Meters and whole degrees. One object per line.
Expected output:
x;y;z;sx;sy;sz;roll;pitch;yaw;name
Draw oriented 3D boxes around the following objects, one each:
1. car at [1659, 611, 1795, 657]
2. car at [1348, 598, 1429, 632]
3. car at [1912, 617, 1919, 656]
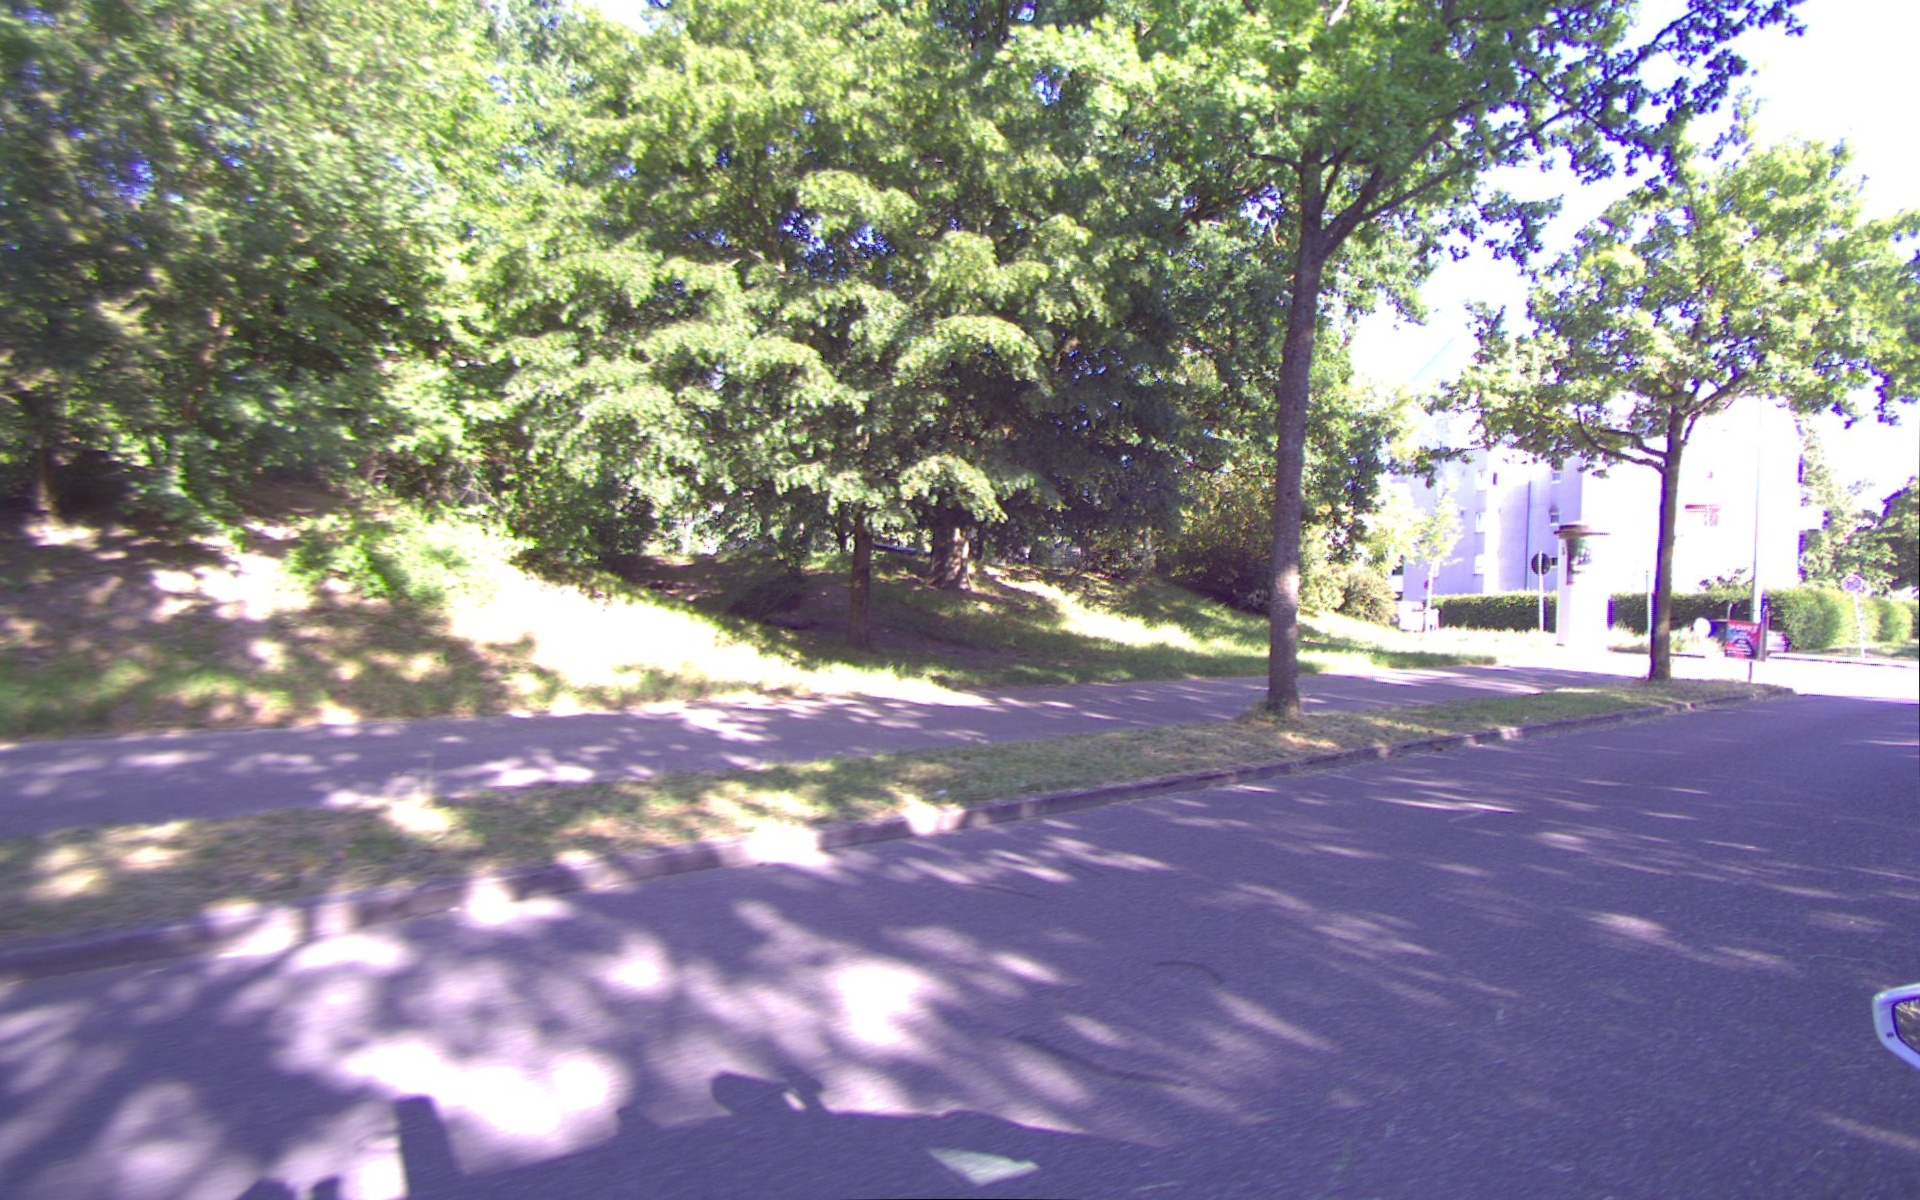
30.914;1.342;40.632;1.852;1.665;4.063;2;0;-15;car
26.429;0.905;62.118;1.966;1.938;4.939;2;0;-14;car
38.359;1.462;37.631;1.678;1.486;3.516;1;1;-21;car
